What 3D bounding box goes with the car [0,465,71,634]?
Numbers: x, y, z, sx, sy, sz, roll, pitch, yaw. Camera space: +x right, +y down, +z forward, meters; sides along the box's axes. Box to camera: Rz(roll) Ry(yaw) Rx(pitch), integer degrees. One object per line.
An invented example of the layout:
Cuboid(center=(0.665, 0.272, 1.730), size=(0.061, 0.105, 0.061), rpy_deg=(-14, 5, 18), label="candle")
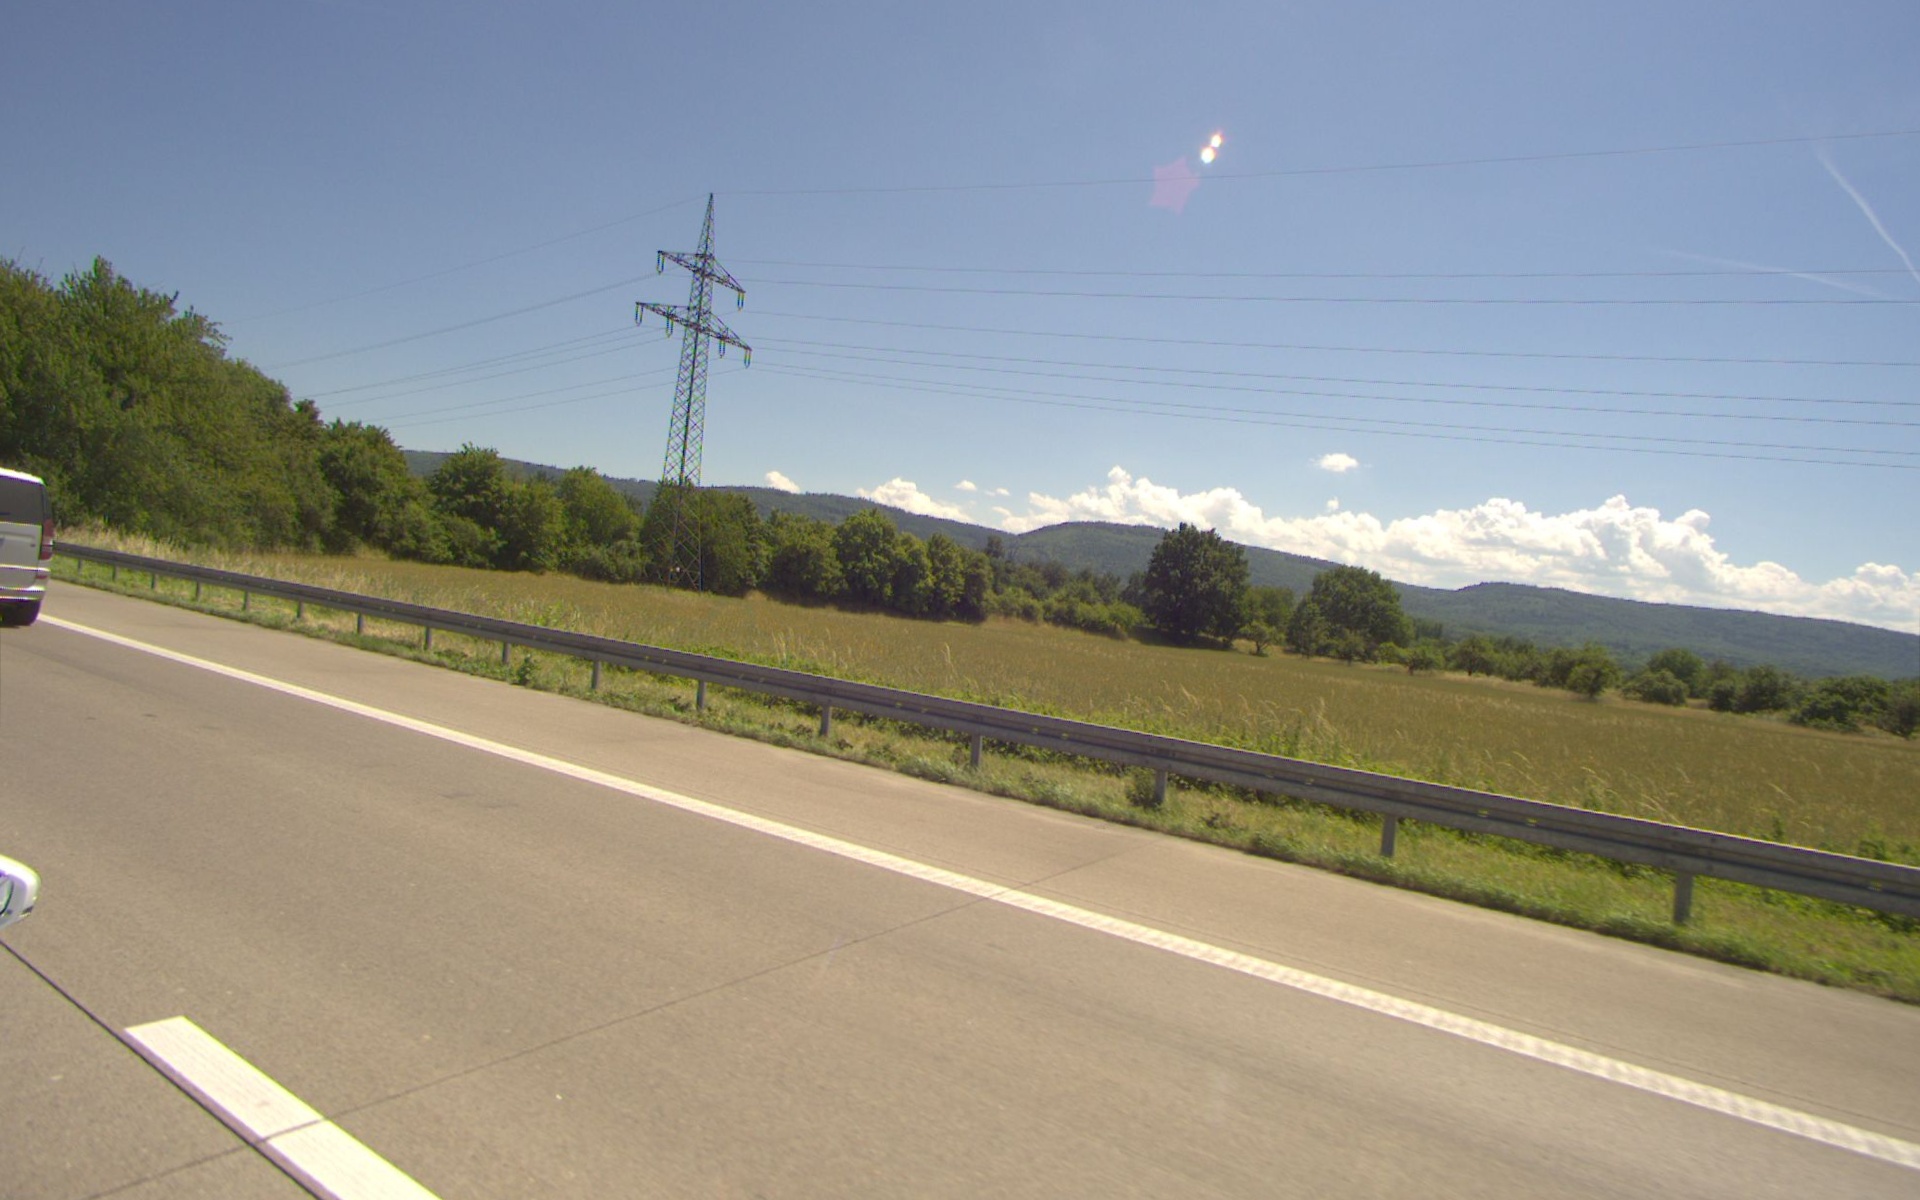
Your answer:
Cuboid(center=(-13.470, -0.874, 12.651), size=(5.192, 1.911, 1.882), rpy_deg=(7, -1, 32), label="car")
